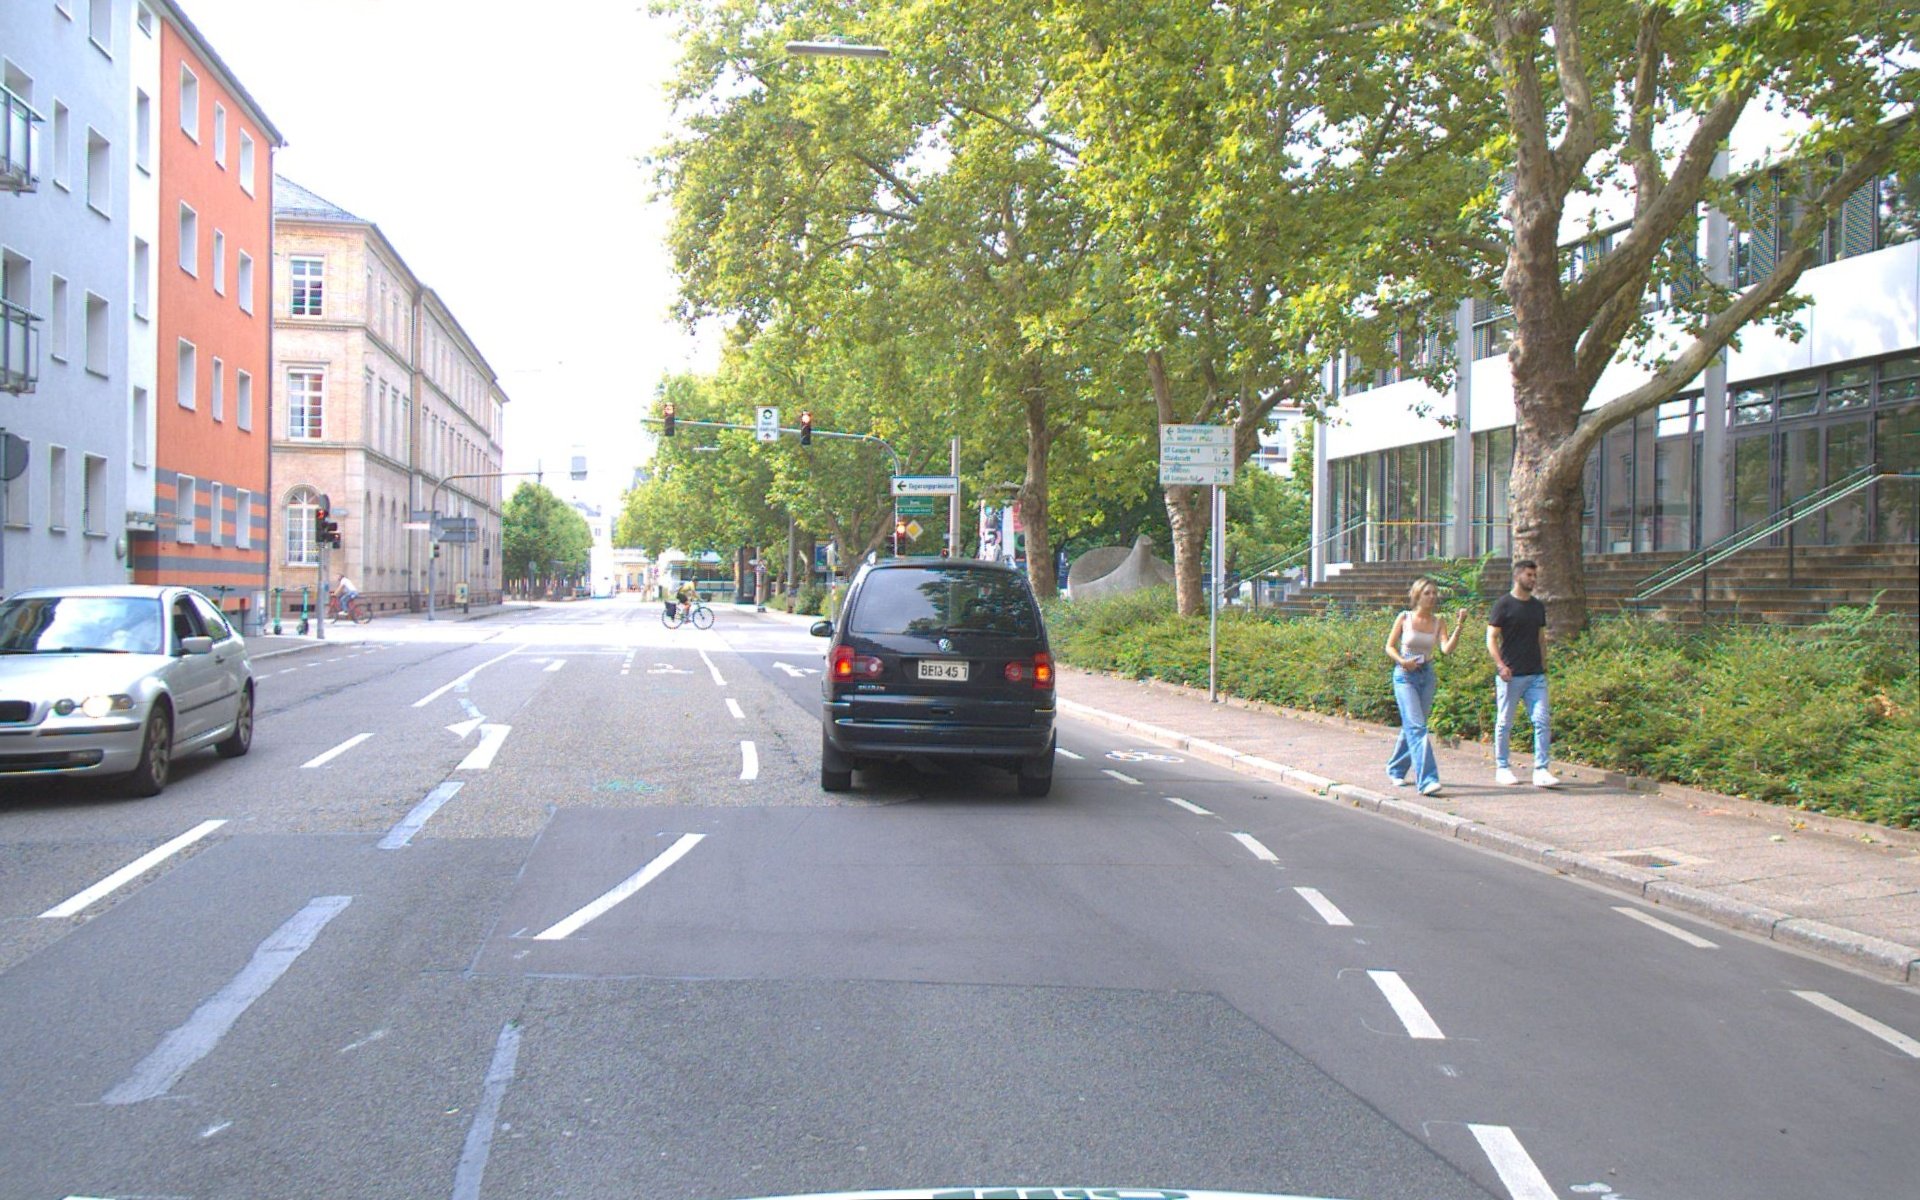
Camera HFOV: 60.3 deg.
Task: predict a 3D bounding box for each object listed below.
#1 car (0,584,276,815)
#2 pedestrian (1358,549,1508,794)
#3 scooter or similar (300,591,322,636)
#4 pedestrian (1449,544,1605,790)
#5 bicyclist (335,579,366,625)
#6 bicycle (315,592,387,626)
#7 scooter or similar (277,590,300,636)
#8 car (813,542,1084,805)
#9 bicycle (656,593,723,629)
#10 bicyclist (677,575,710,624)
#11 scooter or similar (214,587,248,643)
[{"bbox_3d":[-6.529,0.621,12.497,1.726,1.452,4.087,-1,1,-11],"label":"car"},{"bbox_3d":[3.679,0.533,12.929,0.698,1.814,1.031,-1,0,-12],"label":"pedestrian"},{"bbox_3d":[-17.027,0.368,43.418,0.371,1.164,1.138,1,-1,-14],"label":"scooter or similar"},{"bbox_3d":[4.435,0.501,13.000,0.702,1.831,1.031,-1,0,-12],"label":"pedestrian"},{"bbox_3d":[-20.387,0.070,55.328,0.899,1.519,0.624,0,0,-15],"label":"bicyclist"},{"bbox_3d":[-20.359,0.314,55.339,2.197,1.113,0.625,1,0,-16],"label":"bicycle"},{"bbox_3d":[-17.411,0.352,42.879,0.371,1.167,1.138,1,-1,-14],"label":"scooter or similar"},{"bbox_3d":[-0.105,0.485,13.603,1.836,1.775,4.573,1,0,-1],"label":"car"},{"bbox_3d":[-8.503,0.347,52.084,1.991,1.113,0.623,0,0,-24],"label":"bicycle"},{"bbox_3d":[-8.412,-0.016,52.118,0.902,1.541,0.622,0,0,-23],"label":"bicyclist"},{"bbox_3d":[-16.210,0.338,36.795,0.371,1.204,1.386,0,-1,-10],"label":"scooter or similar"}]
